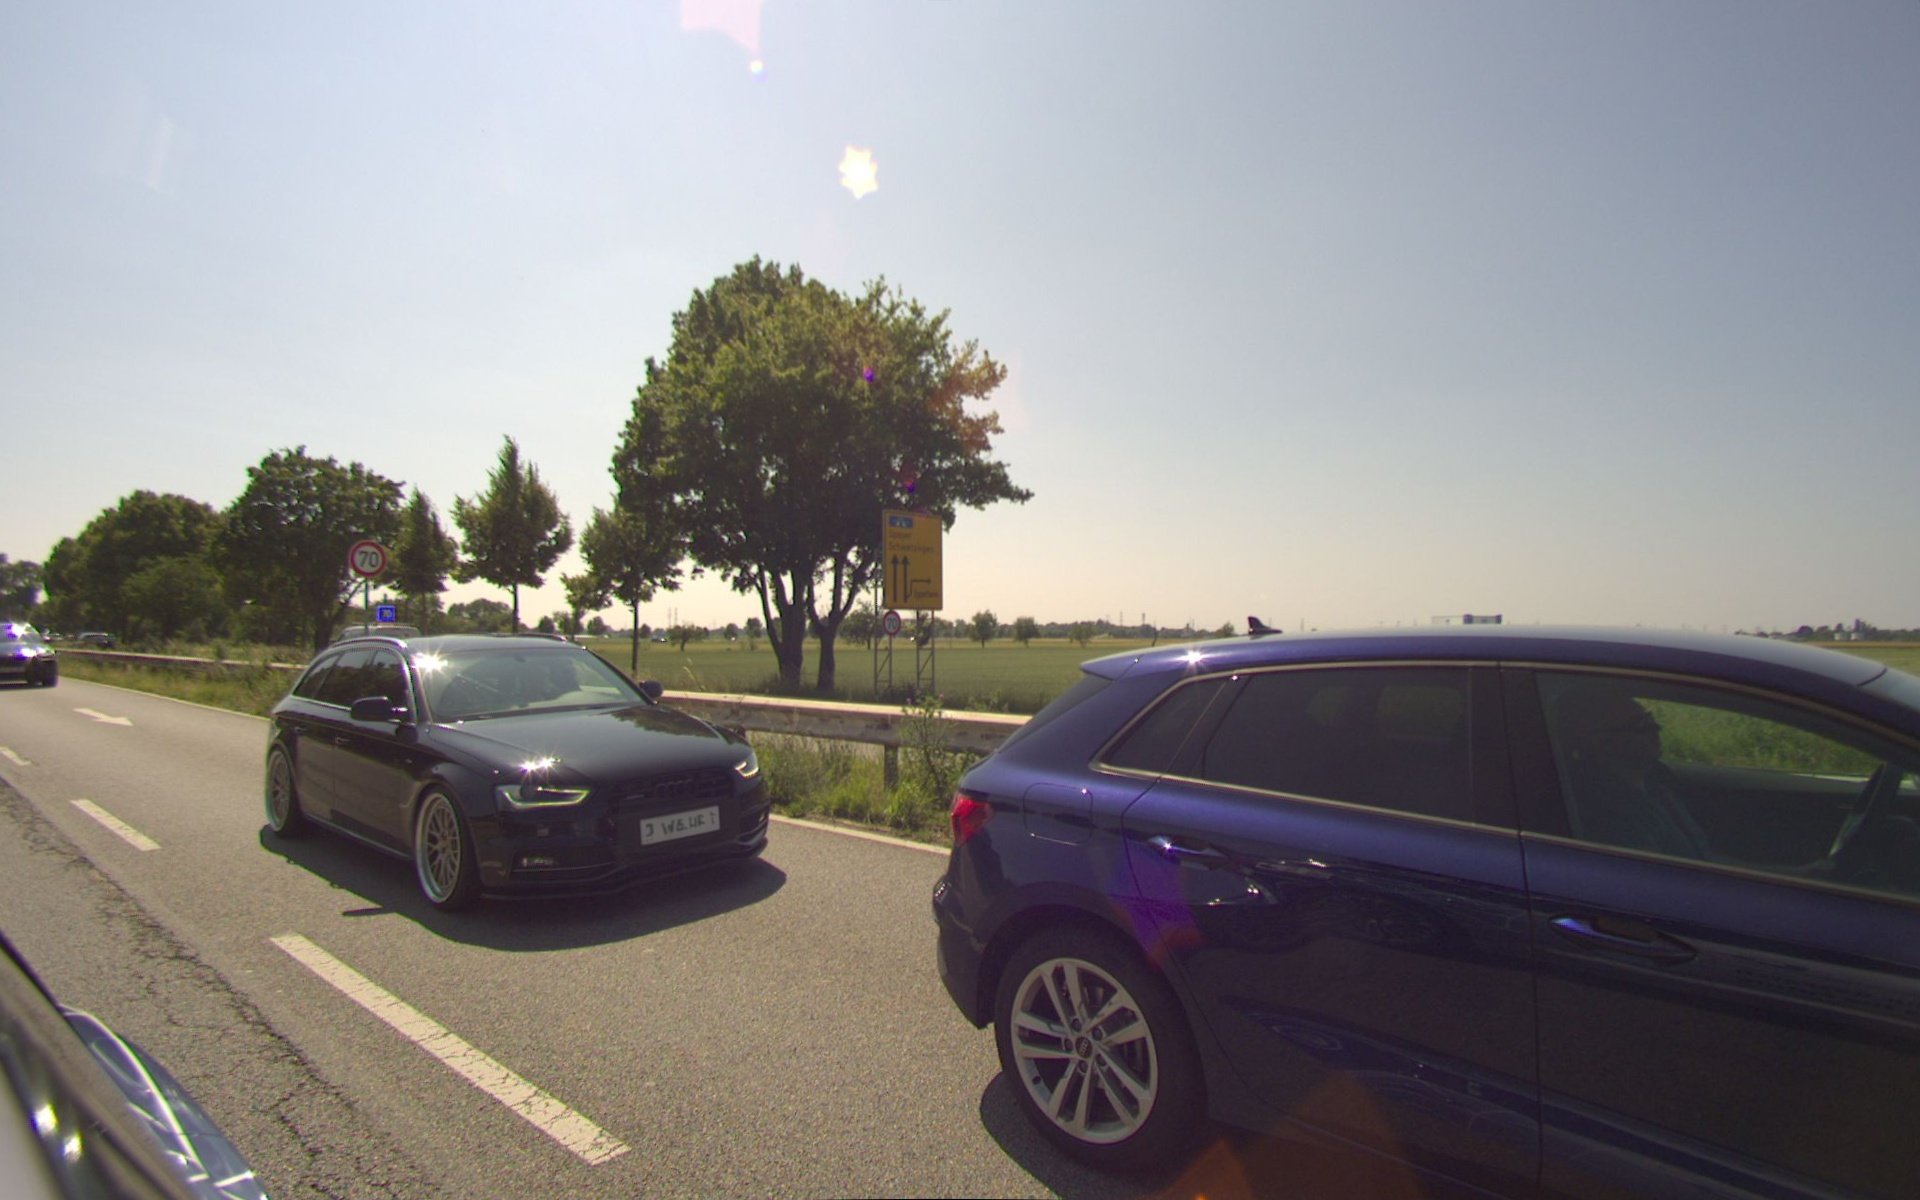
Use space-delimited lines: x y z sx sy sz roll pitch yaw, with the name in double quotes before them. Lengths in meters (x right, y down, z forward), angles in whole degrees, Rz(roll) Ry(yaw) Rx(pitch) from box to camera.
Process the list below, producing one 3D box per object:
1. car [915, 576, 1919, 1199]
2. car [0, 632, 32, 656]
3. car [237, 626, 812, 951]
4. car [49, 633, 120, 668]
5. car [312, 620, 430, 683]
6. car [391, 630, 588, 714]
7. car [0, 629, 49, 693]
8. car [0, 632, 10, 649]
"car" 1.953 0.706 2.295 4.027 1.476 1.699 -2 -1 40
"car" -67.870 3.091 72.149 4.478 1.675 1.973 -2 -3 41
"car" -3.072 0.896 6.587 4.453 1.391 1.722 -2 -1 42
"car" -42.344 2.387 48.920 4.478 1.615 1.973 -2 -3 41
"car" -19.896 1.701 34.109 4.827 1.966 1.973 -2 -3 41
"car" -9.379 1.342 20.009 4.502 1.465 1.859 -2 -3 41
"car" -24.418 1.511 25.502 4.100 1.527 1.835 -2 -2 43
"car" -112.639 4.739 118.187 4.924 1.975 1.973 -2 -3 41
